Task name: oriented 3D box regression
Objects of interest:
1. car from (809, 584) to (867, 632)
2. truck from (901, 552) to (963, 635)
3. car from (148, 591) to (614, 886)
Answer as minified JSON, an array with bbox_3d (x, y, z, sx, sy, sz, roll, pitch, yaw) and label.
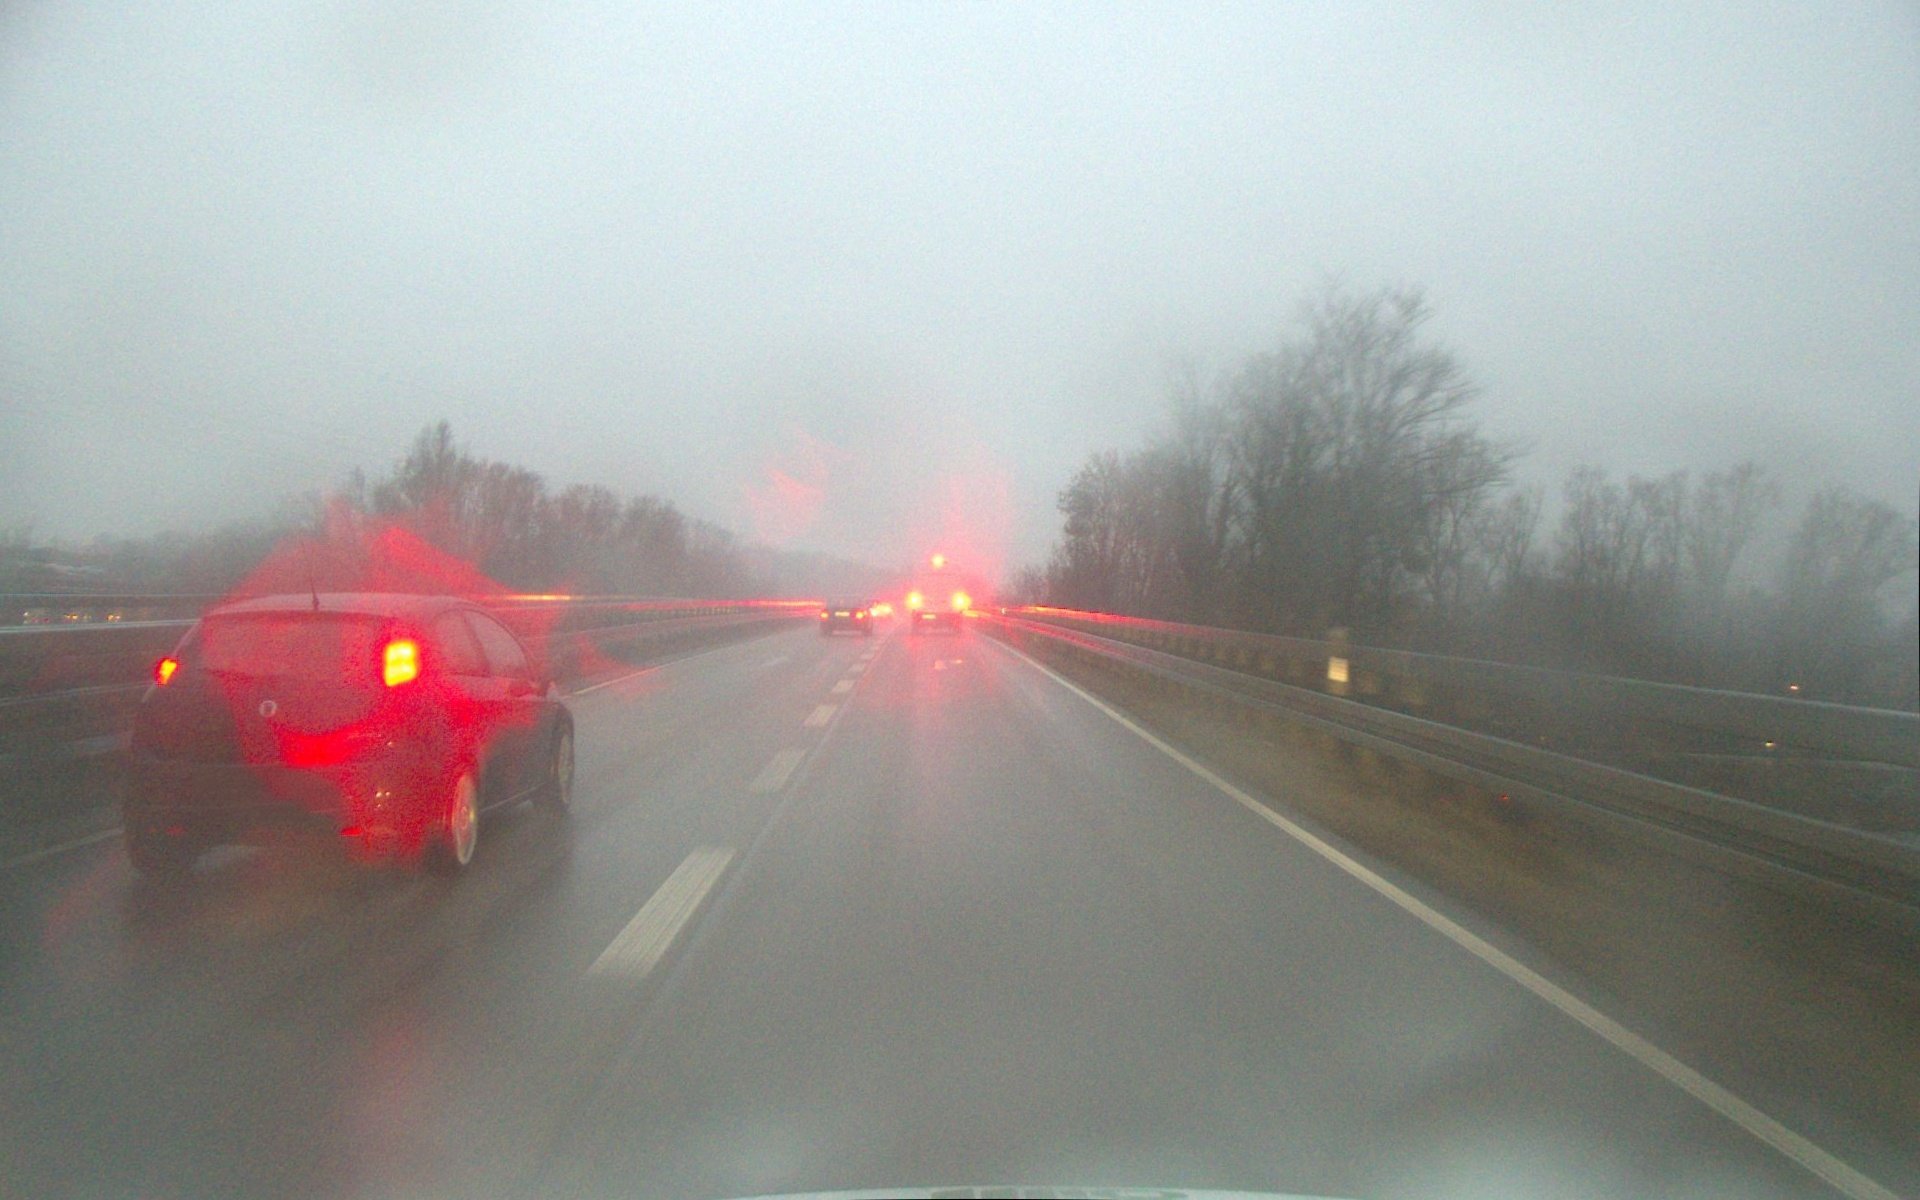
[{"bbox_3d":[-4.321,0.327,59.163,1.797,1.564,3.998,1,-2,-1],"label":"car"},{"bbox_3d":[-1.103,-0.204,65.117,2.334,2.960,4.672,0,-3,-1],"label":"truck"},{"bbox_3d":[-3.293,0.704,10.225,1.593,1.416,3.998,-1,-1,-2],"label":"car"}]
